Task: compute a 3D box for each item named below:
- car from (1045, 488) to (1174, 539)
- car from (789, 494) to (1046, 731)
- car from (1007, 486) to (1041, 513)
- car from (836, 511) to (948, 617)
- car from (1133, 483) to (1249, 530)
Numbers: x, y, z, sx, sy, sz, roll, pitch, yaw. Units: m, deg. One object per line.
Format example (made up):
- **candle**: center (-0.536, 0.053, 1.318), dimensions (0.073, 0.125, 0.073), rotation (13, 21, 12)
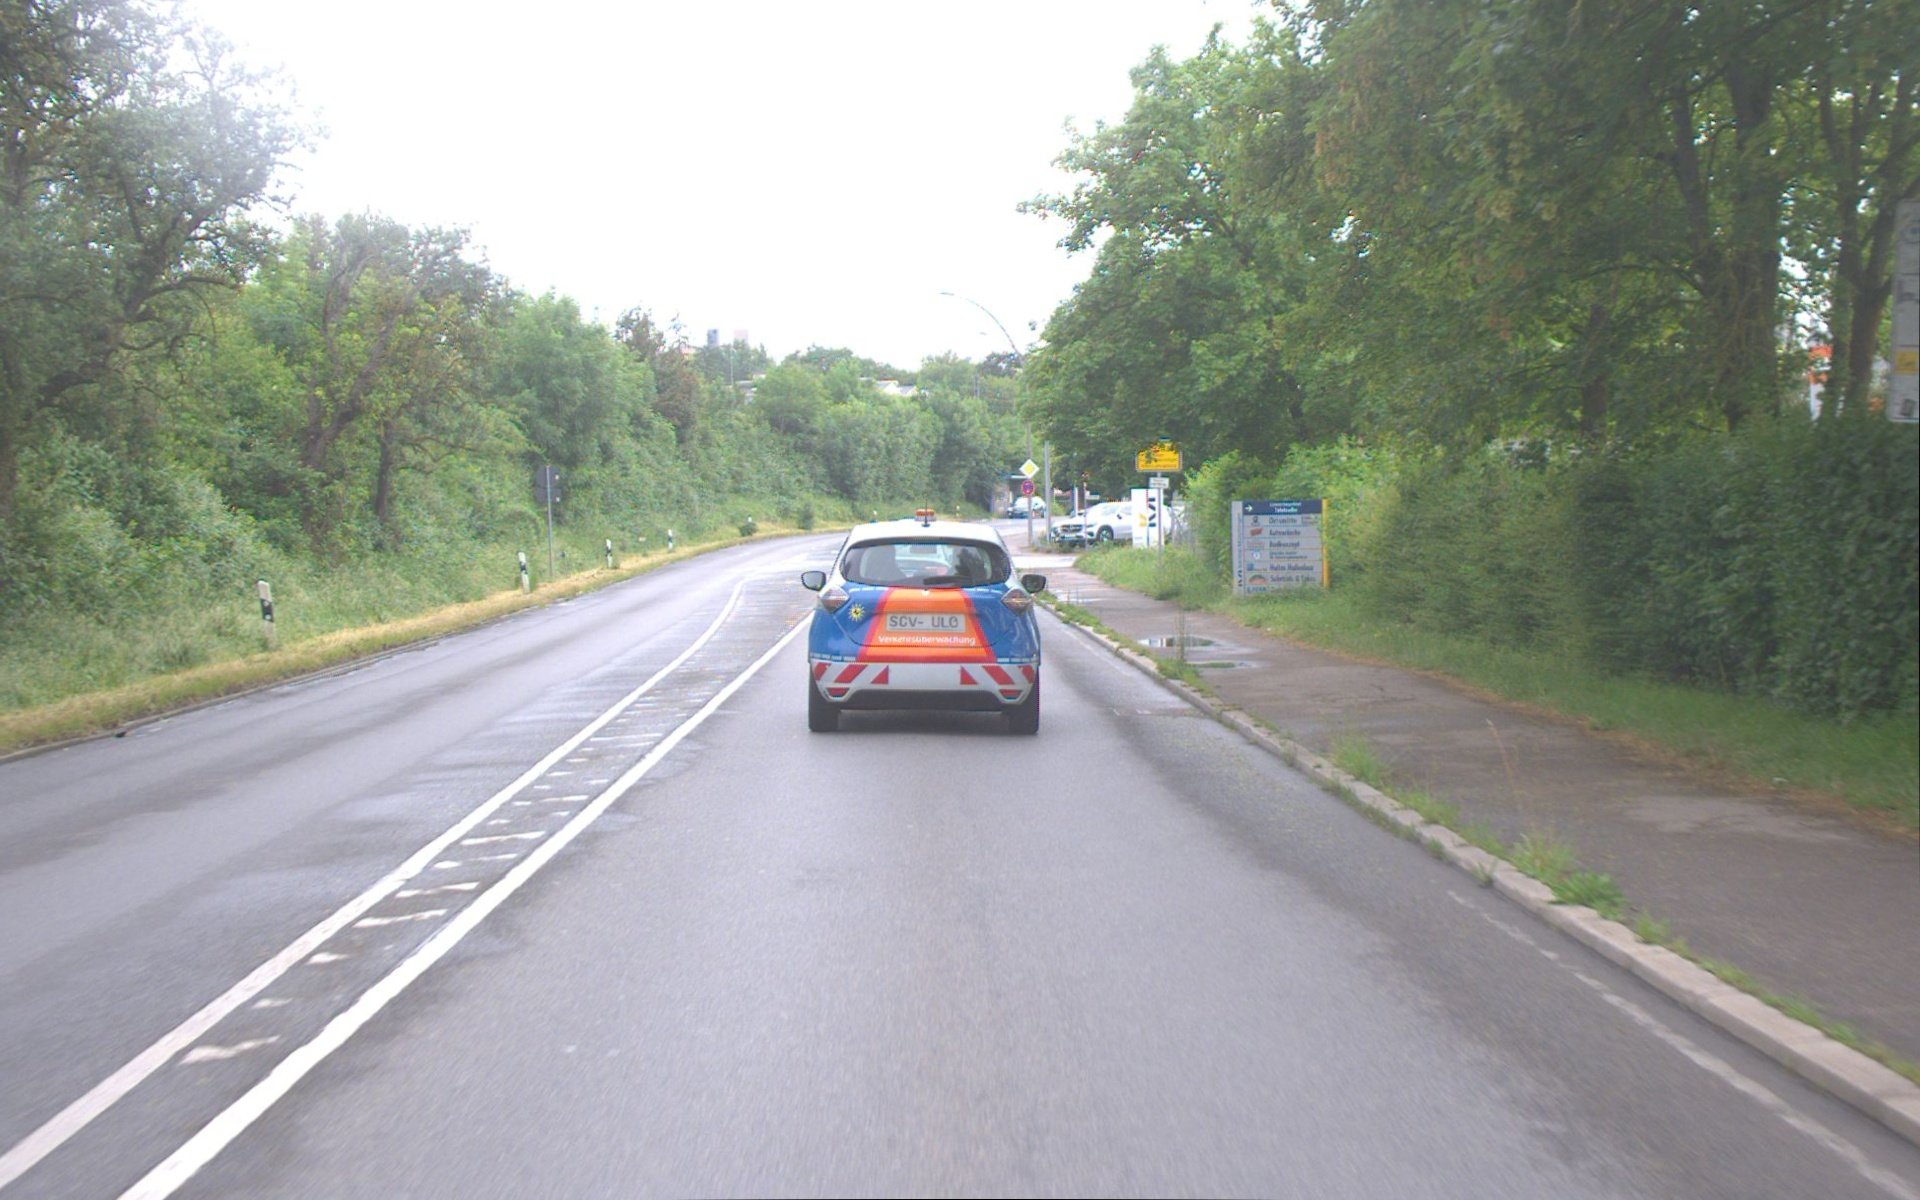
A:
- **car**: center (5.431, -3.124, 124.426), dimensions (2.034, 1.745, 4.606), rotation (2, 1, 45)
- **car**: center (-0.343, 0.051, 26.508), dimensions (1.806, 1.662, 3.856), rotation (1, 1, -1)
- **car**: center (4.451, -6.986, 238.404), dimensions (1.695, 1.784, 3.854), rotation (1, 1, 12)
- **car**: center (-1.088, -0.585, 54.698), dimensions (1.694, 1.590, 3.856), rotation (1, 1, -1)
- **car**: center (8.709, -3.532, 129.475), dimensions (1.930, 1.745, 4.608), rotation (2, 3, 42)
